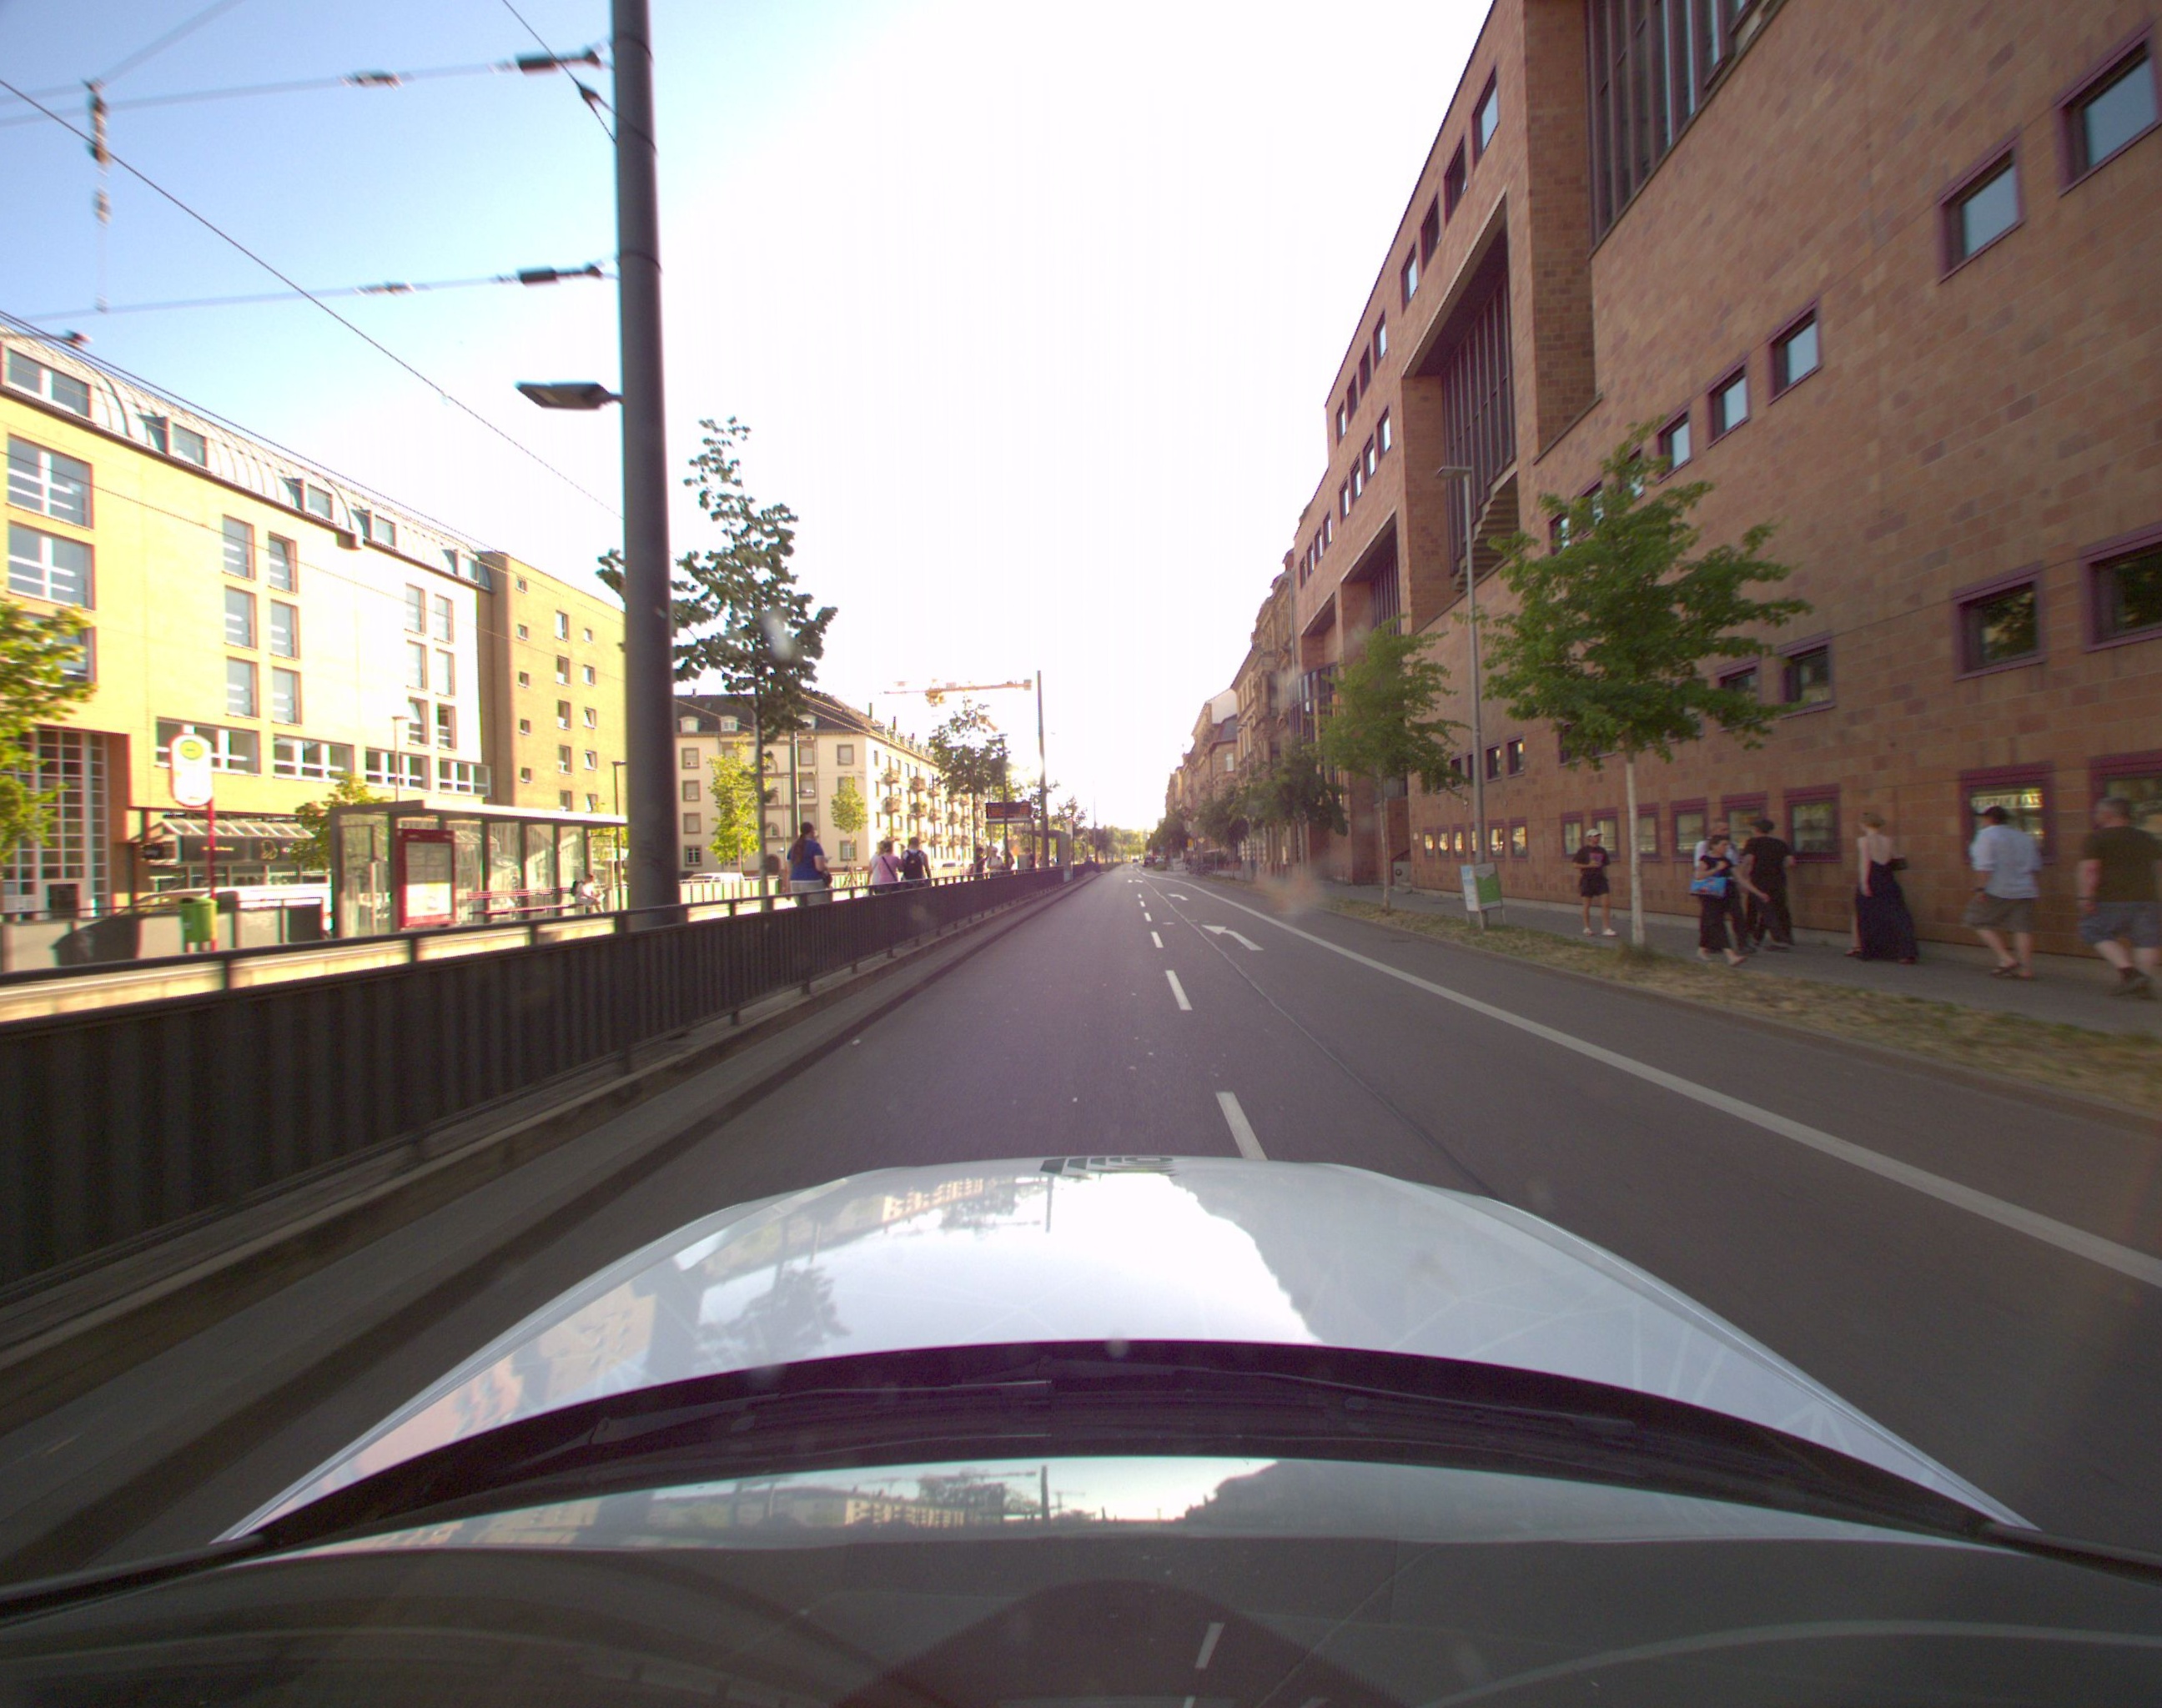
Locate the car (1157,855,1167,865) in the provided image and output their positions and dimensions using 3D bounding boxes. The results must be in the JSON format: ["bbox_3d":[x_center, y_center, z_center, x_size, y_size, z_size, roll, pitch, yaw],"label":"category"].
[{"bbox_3d":[13.222,0.914,132.943,1.629,1.486,4.219,-4,0,6],"label":"car"}]

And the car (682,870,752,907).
[{"bbox_3d":[-22.620,2.089,50.807,1.982,2.013,4.158,-2,0,9],"label":"car"}]

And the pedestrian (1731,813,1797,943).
[{"bbox_3d":[9.502,0.335,11.347,0.418,1.756,0.539,-2,-1,8],"label":"pedestrian"}]

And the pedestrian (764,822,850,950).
[{"bbox_3d":[-3.733,0.427,11.153,0.884,1.672,0.672,-2,-1,1],"label":"pedestrian"}]

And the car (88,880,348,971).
[{"bbox_3d":[-22.185,1.754,21.246,1.876,1.866,4.323,-2,0,6],"label":"car"}]

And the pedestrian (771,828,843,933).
[{"bbox_3d":[-4.038,0.378,12.038,0.678,1.483,0.830,-2,-1,7],"label":"pedestrian"}]

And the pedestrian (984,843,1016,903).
[{"bbox_3d":[-2.191,0.501,22.096,0.670,1.562,0.907,-2,-1,3],"label":"pedestrian"}]

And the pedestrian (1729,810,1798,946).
[{"bbox_3d":[9.031,0.319,10.797,0.531,1.756,0.467,-2,-1,25],"label":"pedestrian"}]

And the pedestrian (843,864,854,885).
[{"bbox_3d":[-22.737,2.012,79.665,0.797,2.013,0.626,-2,0,3],"label":"pedestrian"}]

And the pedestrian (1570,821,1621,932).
[{"bbox_3d":[8.389,0.364,13.292,0.532,1.756,0.423,-2,-1,15],"label":"pedestrian"}]

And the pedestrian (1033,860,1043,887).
[{"bbox_3d":[-2.309,1.045,43.800,0.428,1.385,0.406,-1,-1,-9],"label":"pedestrian"}]

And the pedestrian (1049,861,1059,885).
[{"bbox_3d":[-1.361,0.967,40.960,0.406,1.190,0.428,-1,-1,-9],"label":"pedestrian"}]

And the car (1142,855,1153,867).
[{"bbox_3d":[12.283,1.280,149.864,1.876,1.937,4.479,-3,0,5],"label":"car"}]

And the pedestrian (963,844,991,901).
[{"bbox_3d":[-3.272,0.575,25.608,0.716,1.732,0.652,-2,-1,2],"label":"pedestrian"}]

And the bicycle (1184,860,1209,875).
[{"bbox_3d":[9.541,1.108,67.347,1.821,1.064,0.663,-5,0,-2],"label":"bicycle"}]

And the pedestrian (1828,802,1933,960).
[{"bbox_3d":[9.283,0.309,9.483,0.532,1.756,0.698,-2,-1,13],"label":"pedestrian"}]

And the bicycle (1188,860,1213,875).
[{"bbox_3d":[9.674,1.114,65.864,1.821,1.064,0.663,-5,0,-2],"label":"bicycle"}]

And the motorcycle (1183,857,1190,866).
[{"bbox_3d":[16.538,1.146,127.936,0.791,1.308,2.854,-4,0,3],"label":"motorcycle"}]

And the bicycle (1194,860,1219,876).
[{"bbox_3d":[9.918,1.115,64.465,1.821,1.064,0.663,-5,0,-2],"label":"bicycle"}]

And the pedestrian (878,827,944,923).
[{"bbox_3d":[-3.082,0.374,14.888,0.884,1.672,1.096,-2,-1,1],"label":"pedestrian"}]

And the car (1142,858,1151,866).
[{"bbox_3d":[13.141,1.642,163.120,1.841,1.457,4.162,-2,0,5],"label":"car"}]

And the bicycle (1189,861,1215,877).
[{"bbox_3d":[9.383,1.147,63.115,1.821,1.064,0.663,-5,0,-2],"label":"bicycle"}]

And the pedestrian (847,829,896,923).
[{"bbox_3d":[-3.881,0.402,15.125,0.654,1.672,0.672,-2,-1,1],"label":"pedestrian"}]

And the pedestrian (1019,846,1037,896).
[{"bbox_3d":[-1.808,0.564,27.904,0.503,1.679,0.652,-2,-1,3],"label":"pedestrian"}]

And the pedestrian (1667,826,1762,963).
[{"bbox_3d":[7.739,0.480,9.975,0.516,1.605,0.702,-2,-1,-10],"label":"pedestrian"}]

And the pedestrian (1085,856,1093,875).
[{"bbox_3d":[0.746,1.046,74.326,0.652,1.643,0.868,-1,-2,3],"label":"pedestrian"}]

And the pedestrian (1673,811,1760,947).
[{"bbox_3d":[8.351,0.321,10.722,0.569,1.713,0.641,-2,-1,-2],"label":"pedestrian"}]

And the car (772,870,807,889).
[{"bbox_3d":[-27.210,2.353,76.206,1.832,1.585,4.127,-2,0,-2],"label":"car"}]

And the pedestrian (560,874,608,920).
[{"bbox_3d":[-13.384,1.151,21.966,0.670,1.189,0.907,-2,-1,3],"label":"pedestrian"}]

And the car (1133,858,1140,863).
[{"bbox_3d":[17.427,2.005,255.080,1.786,1.464,4.011,-2,-1,10],"label":"car"}]

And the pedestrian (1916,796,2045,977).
[{"bbox_3d":[9.168,0.323,8.329,0.532,1.756,0.698,-2,-1,13],"label":"pedestrian"}]

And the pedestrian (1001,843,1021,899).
[{"bbox_3d":[-2.226,0.530,25.853,0.503,1.732,0.652,-2,-1,3],"label":"pedestrian"}]

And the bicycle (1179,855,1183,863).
[{"bbox_3d":[19.159,0.994,156.236,0.658,1.402,2.354,-2,0,3],"label":"bicycle"}]

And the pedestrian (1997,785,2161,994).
[{"bbox_3d":[8.923,0.307,7.227,0.727,1.756,0.698,-2,-1,13],"label":"pedestrian"}]
